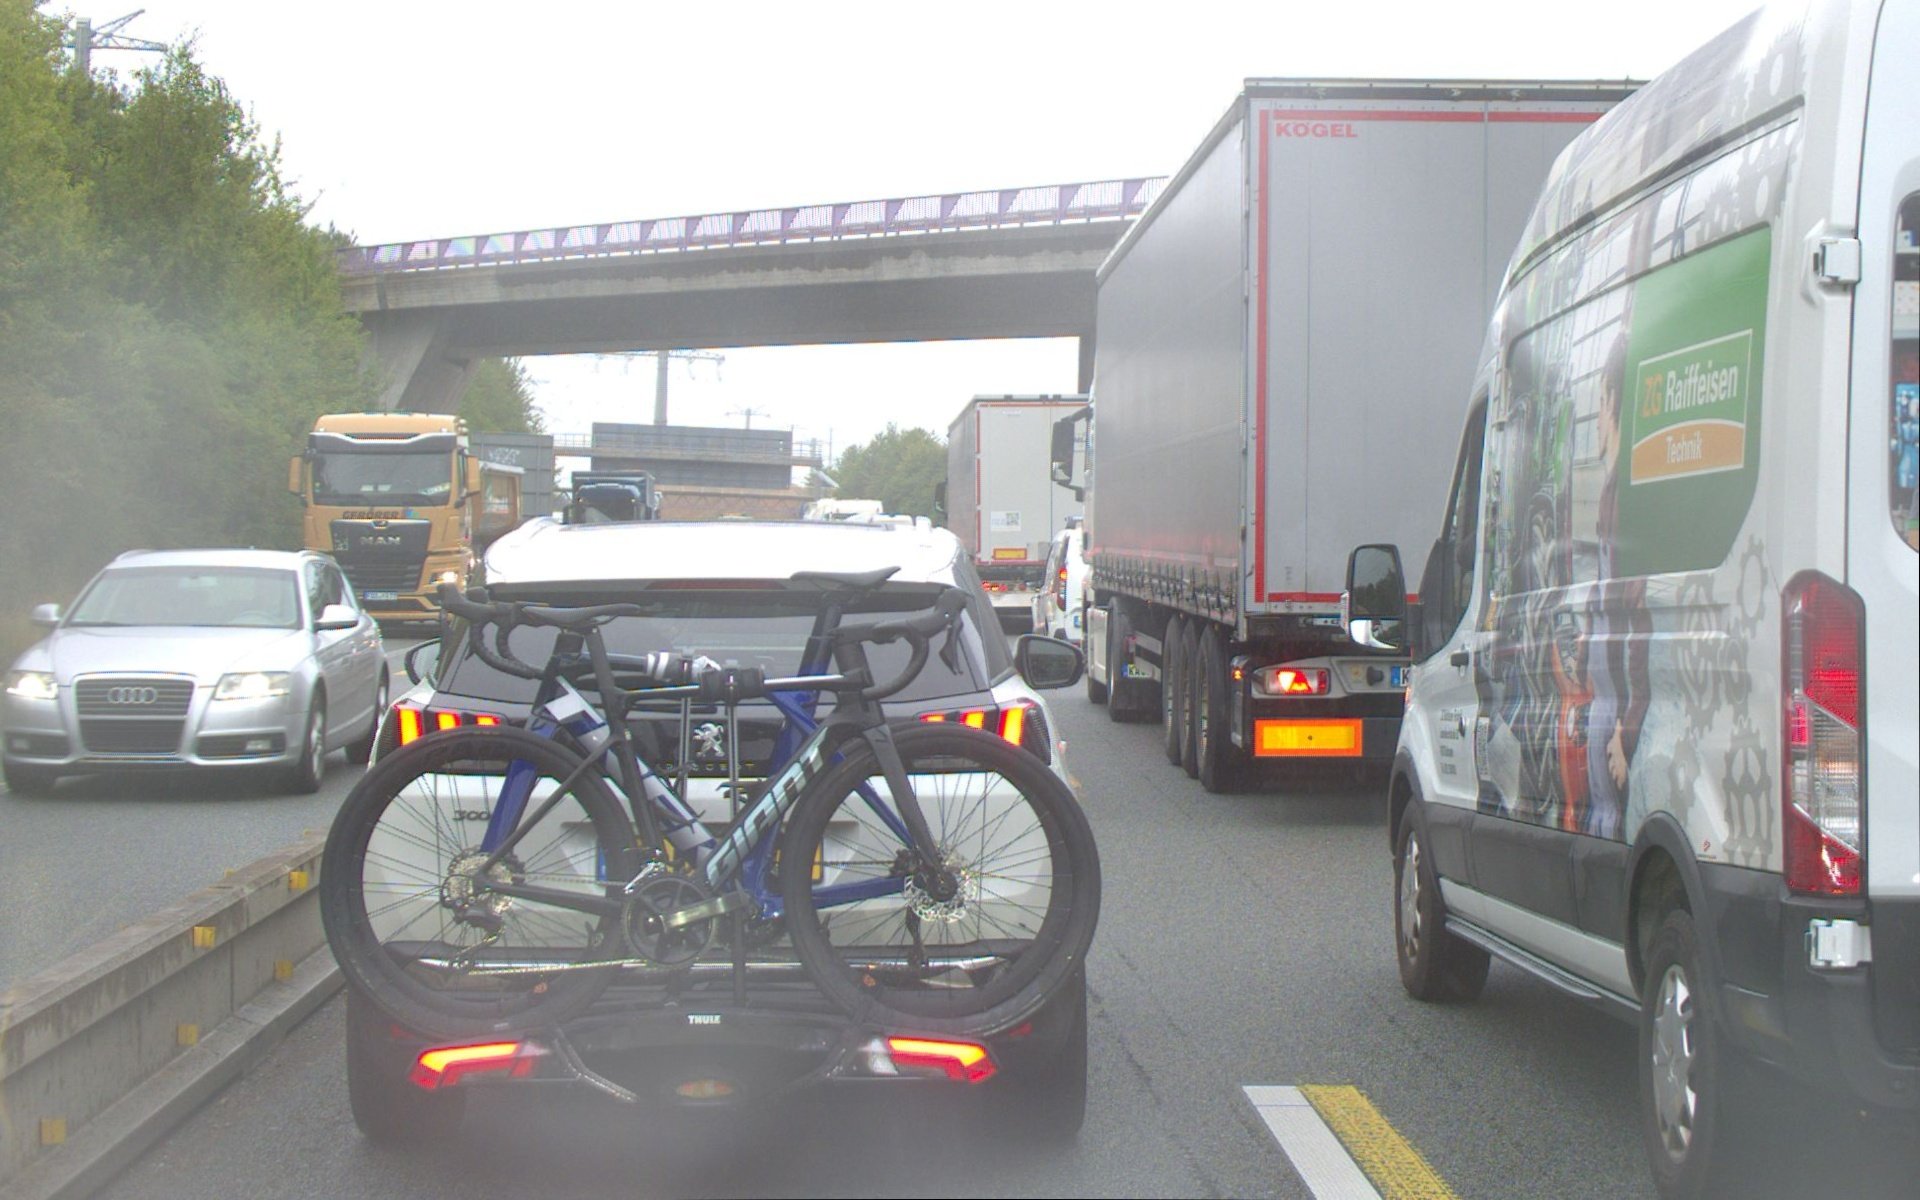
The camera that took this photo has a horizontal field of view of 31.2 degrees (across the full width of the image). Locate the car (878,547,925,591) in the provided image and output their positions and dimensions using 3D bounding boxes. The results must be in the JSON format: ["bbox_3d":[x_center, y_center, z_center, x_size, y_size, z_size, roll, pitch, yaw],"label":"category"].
[{"bbox_3d":[-2.063,-1.103,121.893,1.638,1.492,3.666,1,1,-1],"label":"car"}]

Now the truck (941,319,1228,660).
[{"bbox_3d":[2.121,-1.954,67.606,4.743,5.654,20.376,1,1,0],"label":"truck"}]

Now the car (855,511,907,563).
[{"bbox_3d":[-3.114,-2.476,135.948,1.993,2.007,4.000,1,1,-1],"label":"car"}]

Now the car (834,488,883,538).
[{"bbox_3d":[-4.842,-4.151,164.415,2.239,2.299,4.572,1,1,-1],"label":"car"}]

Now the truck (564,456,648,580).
[{"bbox_3d":[-12.760,-2.827,123.314,2.765,4.109,16.931,0,1,-6],"label":"truck"}]

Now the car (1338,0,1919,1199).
[{"bbox_3d":[2.498,-0.009,9.315,2.144,2.667,6.117,1,1,-1],"label":"car"}]

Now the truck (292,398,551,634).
[{"bbox_3d":[-9.107,-1.372,59.622,2.681,3.644,12.312,1,1,-1],"label":"truck"}]

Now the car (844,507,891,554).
[{"bbox_3d":[-4.087,-3.060,151.693,1.993,2.007,4.000,1,1,-1],"label":"car"}]

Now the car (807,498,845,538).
[{"bbox_3d":[-7.412,-4.525,190.373,1.993,2.119,4.527,1,1,-1],"label":"car"}]

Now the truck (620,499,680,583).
[{"bbox_3d":[-15.683,-2.959,174.565,2.464,4.109,10.089,1,1,-2],"label":"truck"}]

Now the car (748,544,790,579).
[{"bbox_3d":[-8.000,-1.615,143.983,1.686,1.404,3.930,1,1,-3],"label":"car"}]

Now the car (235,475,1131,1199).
[{"bbox_3d":[-0.555,0.547,9.307,1.810,1.632,4.635,1,1,0],"label":"car"}]

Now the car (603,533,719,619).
[{"bbox_3d":[-5.772,-0.472,66.738,1.935,1.602,4.120,1,1,-1],"label":"car"}]

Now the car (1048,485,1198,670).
[{"bbox_3d":[1.991,-0.287,43.014,1.670,2.173,4.535,1,1,0],"label":"car"}]

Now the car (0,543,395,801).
[{"bbox_3d":[-4.722,0.385,21.536,1.779,1.438,4.329,1,1,-2],"label":"car"}]

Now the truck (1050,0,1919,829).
[{"bbox_3d":[3.139,-1.778,27.653,3.979,5.654,20.377,1,1,-1],"label":"truck"}]
